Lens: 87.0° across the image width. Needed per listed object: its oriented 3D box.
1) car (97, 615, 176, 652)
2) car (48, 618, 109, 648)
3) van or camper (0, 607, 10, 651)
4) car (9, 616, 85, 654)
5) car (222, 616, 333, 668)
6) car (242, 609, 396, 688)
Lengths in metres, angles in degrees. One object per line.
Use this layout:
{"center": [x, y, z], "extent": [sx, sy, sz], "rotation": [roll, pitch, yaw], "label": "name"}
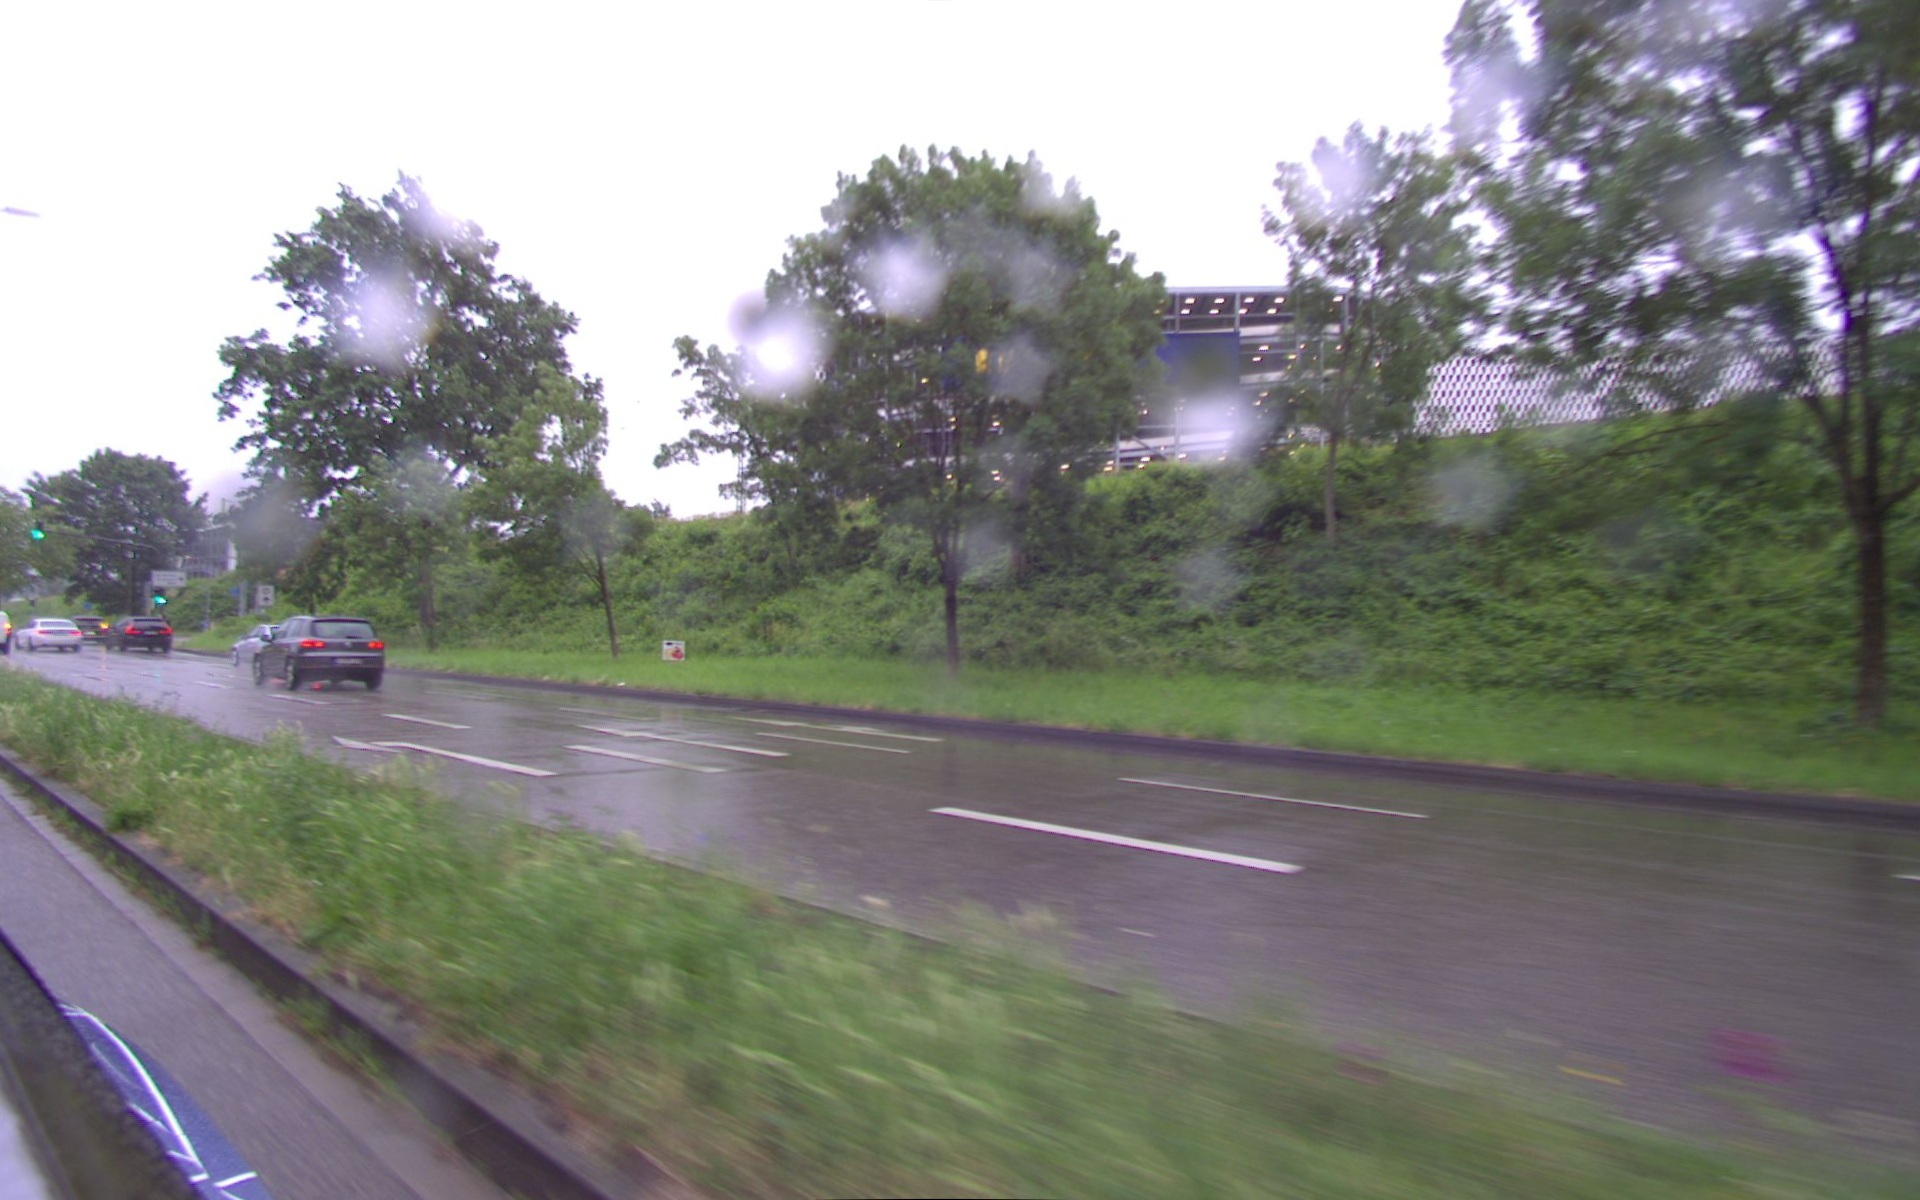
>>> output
{"center": [-39.037, 1.561, 47.925], "extent": [4.675, 1.673, 2.017], "rotation": [-1, -2, 40], "label": "car"}
{"center": [-49.398, 1.840, 56.703], "extent": [4.402, 1.625, 1.879], "rotation": [-1, -2, 40], "label": "car"}
{"center": [-40.053, 1.127, 41.033], "extent": [3.997, 1.755, 1.711], "rotation": [-1, -4, 40], "label": "van or camper"}
{"center": [-41.582, 1.583, 46.059], "extent": [4.708, 1.625, 1.879], "rotation": [-1, -4, 41], "label": "car"}
{"center": [-22.956, 1.364, 33.974], "extent": [4.474, 1.625, 1.879], "rotation": [-1, -2, 40], "label": "car"}
{"center": [-14.637, 1.081, 23.022], "extent": [4.111, 1.625, 1.878], "rotation": [-1, -4, 42], "label": "car"}
